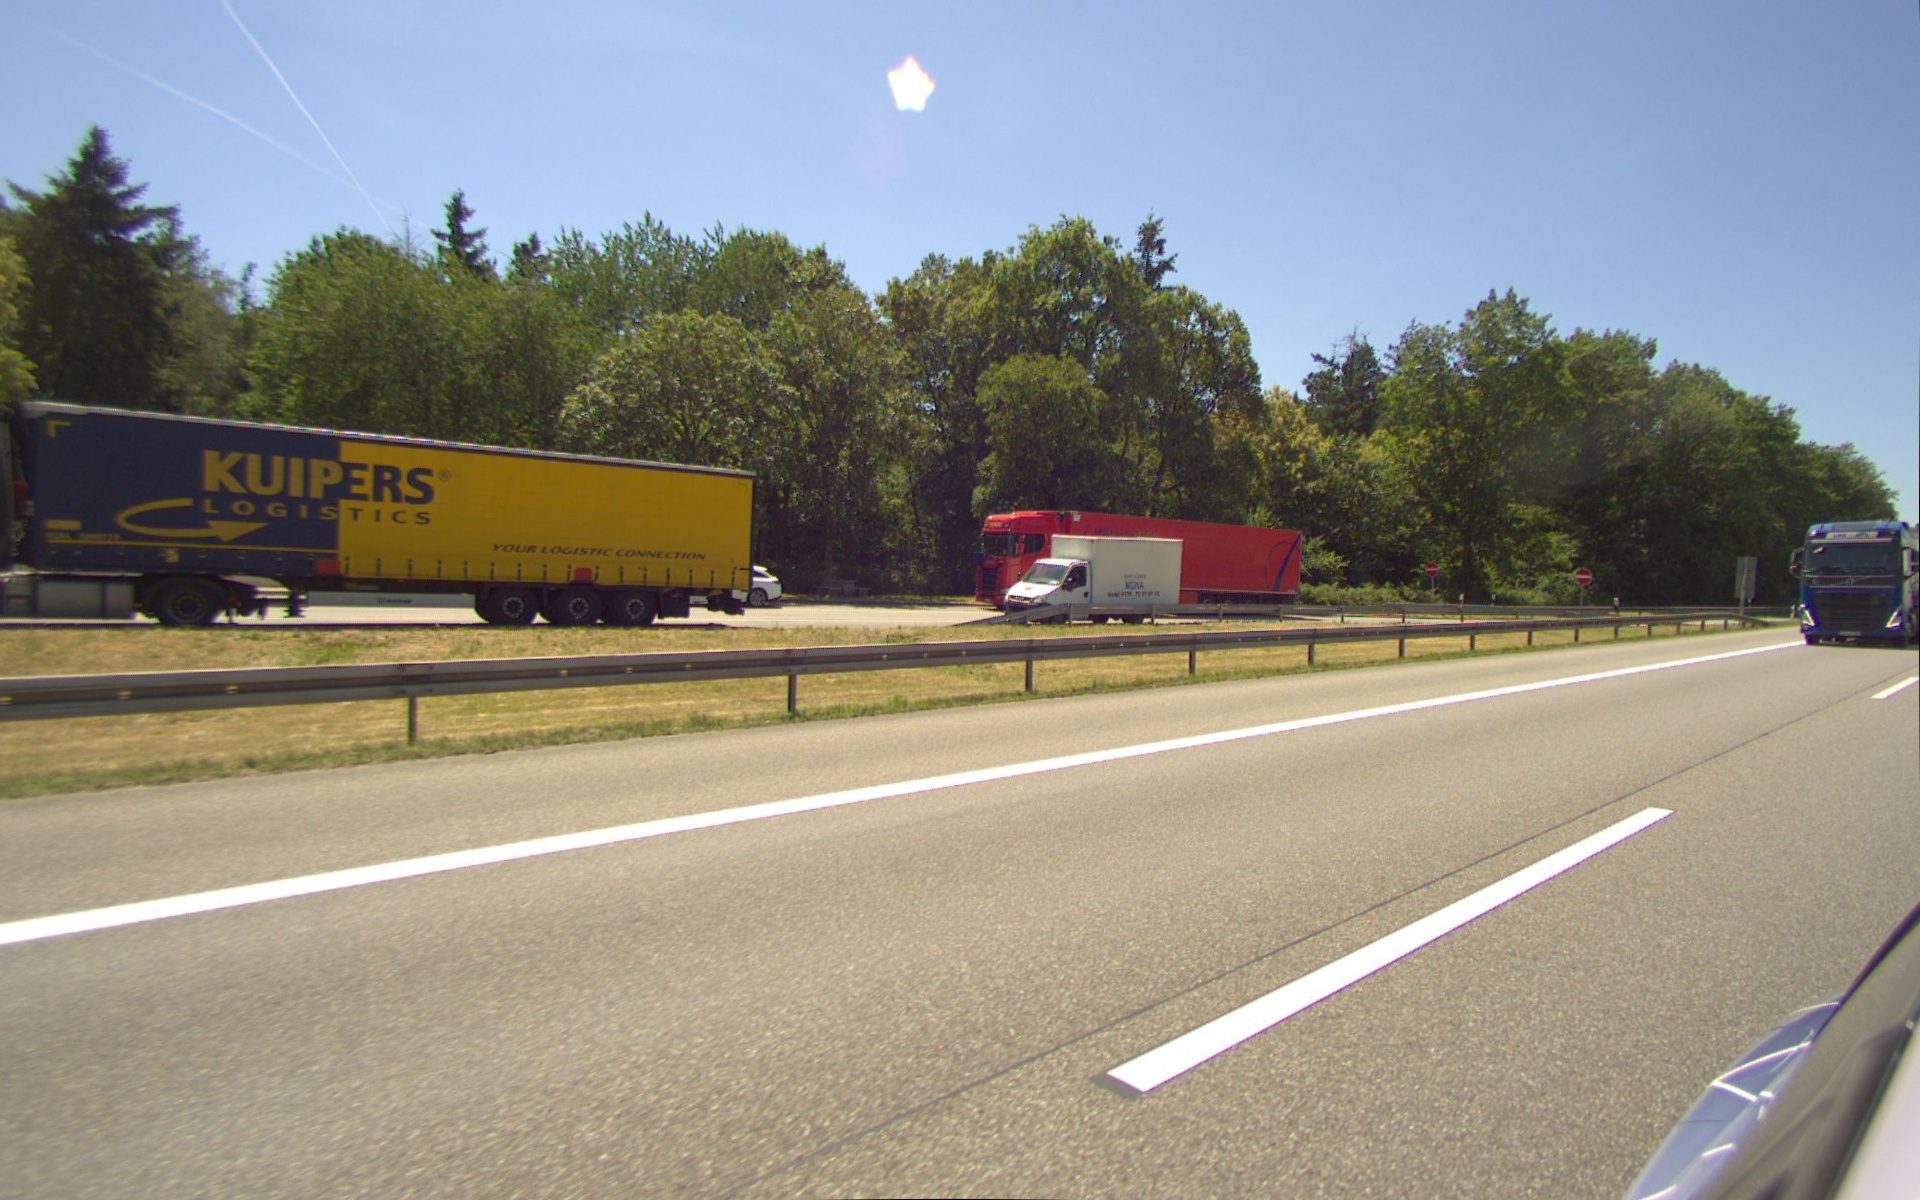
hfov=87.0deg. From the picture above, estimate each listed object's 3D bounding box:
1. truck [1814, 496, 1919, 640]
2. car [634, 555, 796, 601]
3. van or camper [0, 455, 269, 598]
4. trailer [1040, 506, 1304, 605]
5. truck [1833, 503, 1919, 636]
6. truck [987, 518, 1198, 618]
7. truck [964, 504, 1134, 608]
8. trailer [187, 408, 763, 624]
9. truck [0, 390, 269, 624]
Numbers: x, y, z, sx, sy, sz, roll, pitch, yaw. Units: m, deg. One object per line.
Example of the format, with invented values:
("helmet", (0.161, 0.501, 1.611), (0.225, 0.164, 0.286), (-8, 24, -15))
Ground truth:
("truck", (28.016, -0.931, 30.881), (4.001, 4.088, 2.453), (0, 1, -42))
("car", (-8.254, -0.733, 34.235), (4.935, 1.469, 2.002), (0, 2, -32))
("van or camper", (-21.714, -1.769, 25.603), (6.864, 3.274, 3.011), (0, 2, -33))
("trailer", (9.592, -1.795, 44.652), (12.630, 3.926, 2.993), (0, 2, -30))
("truck", (32.834, -0.983, 35.215), (10.361, 4.094, 2.446), (-1, 1, -42))
("truck", (4.543, -1.004, 33.629), (7.521, 2.982, 2.474), (0, 1, -39))
("truck", (3.639, -1.747, 41.111), (6.290, 3.929, 2.992), (-1, 2, -31))
("trailer", (-10.463, -1.612, 23.216), (11.327, 3.984, 3.196), (0, 1, -34))
("truck", (-16.835, -1.631, 18.884), (6.490, 3.984, 3.195), (0, 1, -35))
